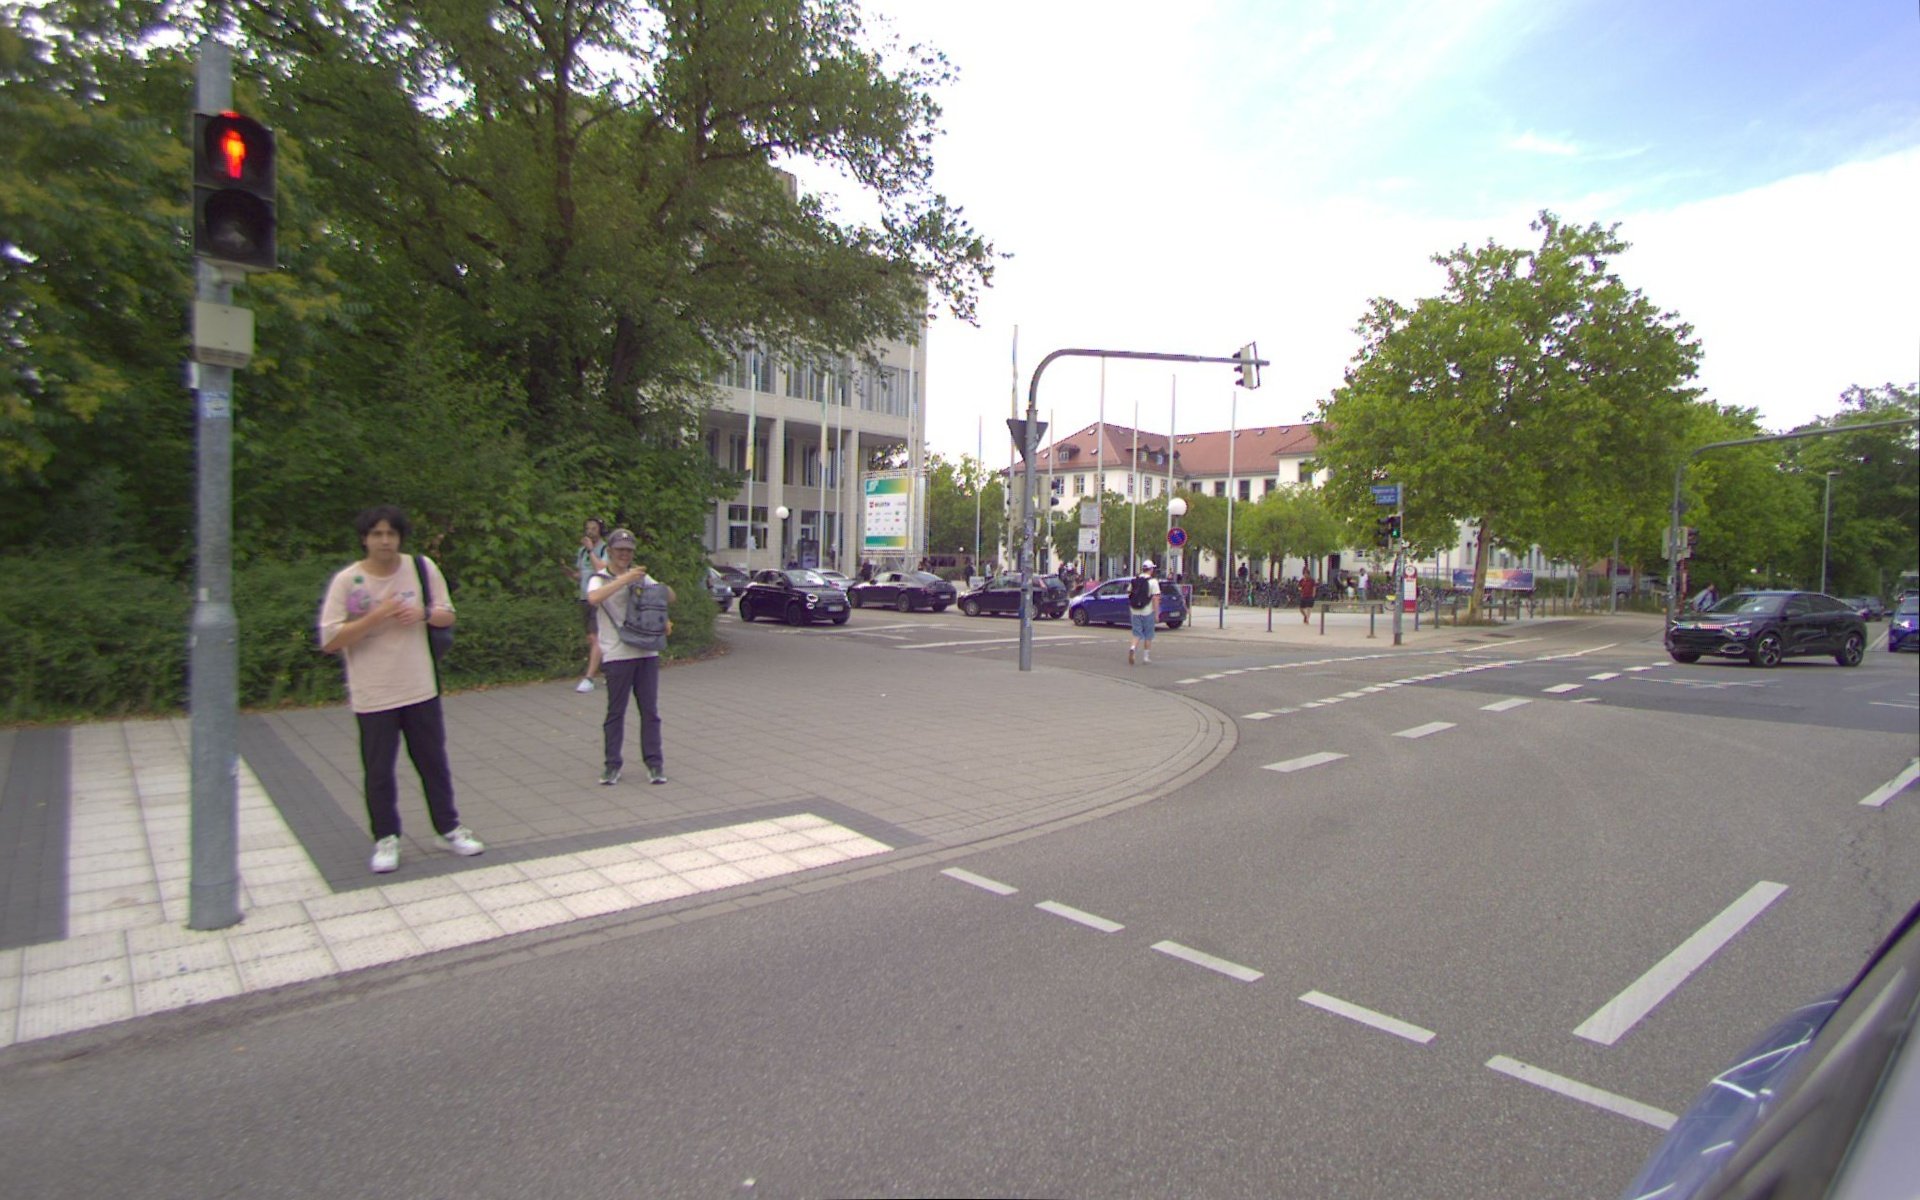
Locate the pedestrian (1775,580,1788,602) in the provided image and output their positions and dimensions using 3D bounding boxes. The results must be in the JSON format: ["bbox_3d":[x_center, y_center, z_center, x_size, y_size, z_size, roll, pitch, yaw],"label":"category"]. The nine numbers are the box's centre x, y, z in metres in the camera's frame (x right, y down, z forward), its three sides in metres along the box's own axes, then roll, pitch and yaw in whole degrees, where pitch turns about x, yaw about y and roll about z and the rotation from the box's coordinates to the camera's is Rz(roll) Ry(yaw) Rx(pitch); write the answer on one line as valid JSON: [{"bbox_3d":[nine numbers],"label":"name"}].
[{"bbox_3d":[59.792,-0.649,73.669,0.644,1.584,0.792,2,2,43],"label":"pedestrian"}]

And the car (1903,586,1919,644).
[{"bbox_3d":[26.646,0.392,27.308,1.699,1.512,3.772,3,2,44],"label":"car"}]

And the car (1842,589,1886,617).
[{"bbox_3d":[49.797,0.135,55.733,1.699,1.386,3.772,3,2,44],"label":"car"}]

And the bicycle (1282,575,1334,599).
[{"bbox_3d":[18.014,-0.685,52.443,0.706,1.156,2.468,0,2,-44],"label":"bicycle"}]

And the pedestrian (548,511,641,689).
[{"bbox_3d":[-3.905,-0.013,10.818,0.728,1.817,0.645,0,2,-45],"label":"pedestrian"}]

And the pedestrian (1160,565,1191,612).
[{"bbox_3d":[8.073,-0.428,37.865,0.687,1.729,0.956,0,0,-27],"label":"pedestrian"}]

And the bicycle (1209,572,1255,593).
[{"bbox_3d":[15.304,-0.988,57.050,0.706,1.156,2.468,0,2,-44],"label":"bicycle"}]

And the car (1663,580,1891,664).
[{"bbox_3d":[16.707,0.391,20.710,4.088,1.576,1.809,-1,1,-21],"label":"car"}]

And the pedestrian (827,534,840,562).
[{"bbox_3d":[-7.823,-3.195,62.480,0.619,1.736,0.673,0,0,-28],"label":"pedestrian"}]

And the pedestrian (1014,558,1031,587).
[{"bbox_3d":[3.497,-1.539,56.707,0.722,1.616,0.595,0,0,32],"label":"pedestrian"}]

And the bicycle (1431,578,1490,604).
[{"bbox_3d":[24.465,-0.456,49.477,0.706,1.156,2.468,0,2,-44],"label":"bicycle"}]

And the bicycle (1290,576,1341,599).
[{"bbox_3d":[18.595,-0.662,53.020,0.706,1.156,2.468,0,2,-44],"label":"bicycle"}]

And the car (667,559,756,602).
[{"bbox_3d":[-11.286,-0.914,45.848,4.217,1.587,1.785,2,-7,45],"label":"car"}]

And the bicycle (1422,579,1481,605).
[{"bbox_3d":[23.801,-0.396,49.070,0.706,1.156,2.468,0,2,-44],"label":"bicycle"}]

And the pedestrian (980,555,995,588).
[{"bbox_3d":[1.568,-1.624,57.643,0.722,1.866,0.596,0,0,30],"label":"pedestrian"}]

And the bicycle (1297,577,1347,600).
[{"bbox_3d":[19.146,-0.616,53.577,0.706,1.156,2.468,0,2,-44],"label":"bicycle"}]

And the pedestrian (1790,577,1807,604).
[{"bbox_3d":[60.426,-0.700,72.931,0.796,1.957,0.748,2,2,44],"label":"pedestrian"}]

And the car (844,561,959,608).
[{"bbox_3d":[-2.190,-0.622,36.938,4.440,1.586,1.648,2,3,45],"label":"car"}]

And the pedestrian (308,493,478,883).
[{"bbox_3d":[-2.759,0.389,4.932,0.626,1.756,0.454,0,2,-45],"label":"pedestrian"}]

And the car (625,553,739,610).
[{"bbox_3d":[-8.931,-0.647,32.339,1.657,1.713,4.285,-2,3,-44],"label":"car"}]

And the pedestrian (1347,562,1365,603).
[{"bbox_3d":[19.129,-0.844,48.895,0.674,1.988,0.602,0,0,5],"label":"pedestrian"}]

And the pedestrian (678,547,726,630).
[{"bbox_3d":[-5.962,-0.272,23.388,0.794,1.874,0.725,2,1,28],"label":"pedestrian"}]

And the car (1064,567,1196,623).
[{"bbox_3d":[4.996,-0.201,30.055,3.573,1.510,1.648,2,3,45],"label":"car"}]

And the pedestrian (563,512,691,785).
[{"bbox_3d":[-2.217,0.294,6.737,0.626,1.708,0.546,0,2,-45],"label":"pedestrian"}]

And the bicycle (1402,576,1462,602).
[{"bbox_3d":[22.255,-0.525,47.783,0.706,1.156,2.468,0,2,-44],"label":"bicycle"}]

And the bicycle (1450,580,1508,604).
[{"bbox_3d":[25.858,-0.410,50.422,0.706,1.156,2.468,0,2,-44],"label":"bicycle"}]

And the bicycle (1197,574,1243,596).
[{"bbox_3d":[14.393,-0.868,56.121,0.706,1.156,2.468,0,2,-44],"label":"bicycle"}]

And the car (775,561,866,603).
[{"bbox_3d":[-5.597,-0.761,40.475,3.821,1.586,1.648,2,3,45],"label":"car"}]

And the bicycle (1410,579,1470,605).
[{"bbox_3d":[23.064,-0.390,48.670,0.706,1.156,2.468,0,2,-44],"label":"bicycle"}]

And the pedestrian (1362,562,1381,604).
[{"bbox_3d":[19.845,-0.827,48.824,0.674,1.988,0.602,0,0,5],"label":"pedestrian"}]

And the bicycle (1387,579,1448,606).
[{"bbox_3d":[21.160,-0.362,46.853,0.706,1.156,2.468,0,2,-44],"label":"bicycle"}]

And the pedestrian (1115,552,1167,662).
[{"bbox_3d":[3.192,0.115,17.789,0.642,1.875,0.819,0,1,33],"label":"pedestrian"}]

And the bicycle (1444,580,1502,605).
[{"bbox_3d":[25.289,-0.395,49.916,0.706,1.156,2.468,0,2,-44],"label":"bicycle"}]

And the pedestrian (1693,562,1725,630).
[{"bbox_3d":[20.783,-0.114,28.075,0.670,1.839,0.574,0,2,-42],"label":"pedestrian"}]

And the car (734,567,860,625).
[{"bbox_3d":[-4.501,-0.166,27.691,1.657,1.460,3.574,-2,3,-44],"label":"car"}]

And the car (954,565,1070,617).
[{"bbox_3d":[1.690,-0.353,33.604,3.685,1.586,1.648,2,3,45],"label":"car"}]

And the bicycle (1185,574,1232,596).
[{"bbox_3d":[13.562,-0.848,55.286,0.706,1.156,2.468,0,2,-44],"label":"bicycle"}]

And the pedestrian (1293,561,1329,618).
[{"bbox_3d":[11.467,-0.341,33.036,0.876,1.827,0.768,0,1,-41],"label":"pedestrian"}]

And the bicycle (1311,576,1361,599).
[{"bbox_3d":[20.288,-0.699,54.709,0.706,1.156,2.468,0,2,-44],"label":"bicycle"}]
